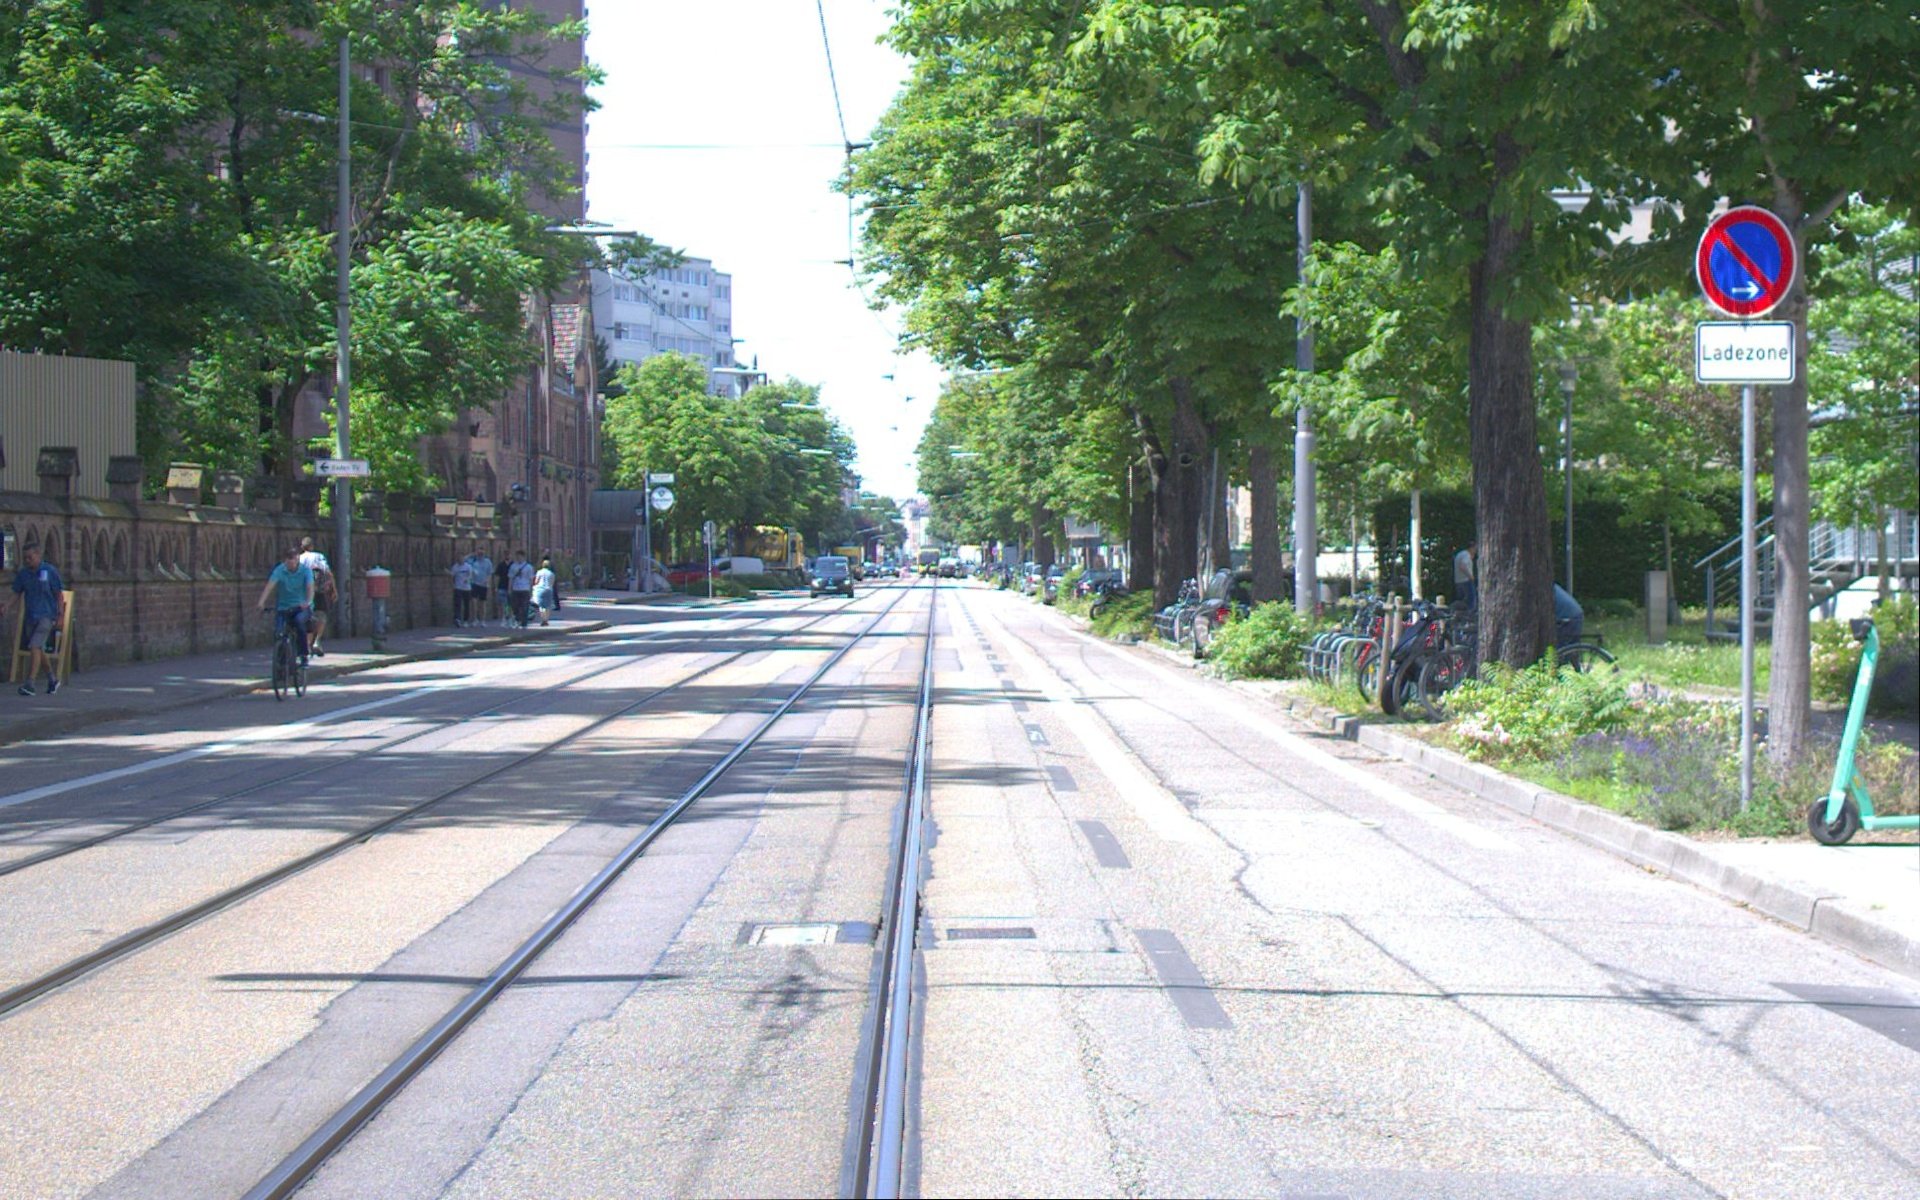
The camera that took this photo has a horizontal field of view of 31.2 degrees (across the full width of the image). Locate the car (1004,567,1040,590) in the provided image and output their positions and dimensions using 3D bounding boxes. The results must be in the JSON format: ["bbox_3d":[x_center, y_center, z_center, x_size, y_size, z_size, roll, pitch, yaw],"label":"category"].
[{"bbox_3d":[3.561,-1.246,198.849,1.993,1.305,4.000,0,1,0],"label":"car"}]

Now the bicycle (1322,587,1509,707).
[{"bbox_3d":[4.484,0.456,33.878,1.752,1.162,0.530,0,0,-3],"label":"bicycle"}]

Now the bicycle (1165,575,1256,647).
[{"bbox_3d":[4.342,0.190,59.656,1.564,1.237,0.437,0,0,1],"label":"bicycle"}]

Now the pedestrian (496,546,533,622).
[{"bbox_3d":[-10.148,-0.376,78.348,0.743,1.722,0.867,0,0,-1],"label":"pedestrian"}]

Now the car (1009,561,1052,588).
[{"bbox_3d":[3.434,-1.271,168.016,1.993,1.305,4.000,0,1,0],"label":"car"}]

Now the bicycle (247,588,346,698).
[{"bbox_3d":[-7.709,0.484,40.030,0.701,1.200,2.240,-2,1,-1],"label":"bicycle"}]

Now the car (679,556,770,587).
[{"bbox_3d":[-13.256,-1.607,193.393,4.728,1.711,2.000,-1,1,-27],"label":"car"}]

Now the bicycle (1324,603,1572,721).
[{"bbox_3d":[5.052,0.638,35.716,2.511,1.205,0.648,0,0,4],"label":"bicycle"}]

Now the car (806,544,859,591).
[{"bbox_3d":[-5.535,-1.426,149.628,1.993,2.007,4.000,0,1,2],"label":"car"}]

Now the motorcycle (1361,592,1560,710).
[{"bbox_3d":[4.806,0.484,33.077,1.824,1.106,0.598,0,1,0],"label":"motorcycle"}]

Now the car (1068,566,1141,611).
[{"bbox_3d":[4.327,-0.347,103.204,1.993,1.305,4.000,0,1,0],"label":"car"}]

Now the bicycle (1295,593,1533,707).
[{"bbox_3d":[4.890,0.537,37.119,2.511,1.205,0.622,0,0,4],"label":"bicycle"}]

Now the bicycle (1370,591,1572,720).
[{"bbox_3d":[4.673,0.502,31.497,1.752,1.162,0.530,0,0,-3],"label":"bicycle"}]

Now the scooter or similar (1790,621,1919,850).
[{"bbox_3d":[4.877,0.690,17.784,1.058,1.152,0.370,-1,0,0],"label":"scooter or similar"}]

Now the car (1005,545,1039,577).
[{"bbox_3d":[3.748,-2.382,208.500,1.993,1.897,4.000,0,1,0],"label":"car"}]

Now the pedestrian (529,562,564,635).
[{"bbox_3d":[-9.848,-0.048,81.866,0.743,1.722,0.867,0,0,-1],"label":"pedestrian"}]

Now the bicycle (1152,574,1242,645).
[{"bbox_3d":[4.189,0.166,60.744,1.564,1.237,0.437,0,0,1],"label":"bicycle"}]

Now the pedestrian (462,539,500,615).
[{"bbox_3d":[-10.922,-0.520,78.381,0.743,1.722,0.867,0,0,-1],"label":"pedestrian"}]

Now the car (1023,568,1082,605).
[{"bbox_3d":[3.314,-0.510,124.436,1.993,1.305,4.000,0,1,0],"label":"car"}]

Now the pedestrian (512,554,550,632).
[{"bbox_3d":[-9.589,-0.159,76.798,0.743,1.722,0.867,0,0,-1],"label":"pedestrian"}]

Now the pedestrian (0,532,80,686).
[{"bbox_3d":[-10.459,0.099,38.977,0.743,1.722,0.867,0,0,-1],"label":"pedestrian"}]

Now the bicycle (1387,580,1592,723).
[{"bbox_3d":[4.761,0.461,30.955,1.752,1.266,0.530,0,0,-3],"label":"bicycle"}]

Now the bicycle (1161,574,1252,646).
[{"bbox_3d":[4.309,0.176,60.160,1.564,1.237,0.437,0,0,1],"label":"bicycle"}]

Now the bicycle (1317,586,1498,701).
[{"bbox_3d":[4.558,0.439,35.033,1.752,1.162,0.530,0,0,-3],"label":"bicycle"}]

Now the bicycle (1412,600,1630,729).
[{"bbox_3d":[4.853,0.553,29.785,1.788,1.098,0.532,0,0,-2],"label":"bicycle"}]

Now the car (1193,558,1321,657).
[{"bbox_3d":[4.606,0.089,53.755,1.634,1.496,4.000,0,1,0],"label":"car"}]

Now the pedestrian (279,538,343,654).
[{"bbox_3d":[-9.968,-0.064,52.832,0.814,1.764,0.924,0,0,-1],"label":"pedestrian"}]

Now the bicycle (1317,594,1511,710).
[{"bbox_3d":[4.801,0.549,36.445,1.997,1.205,0.662,0,0,4],"label":"bicycle"}]

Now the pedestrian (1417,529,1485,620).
[{"bbox_3d":[9.890,-0.513,69.306,1.215,1.821,0.831,0,0,-4],"label":"pedestrian"}]

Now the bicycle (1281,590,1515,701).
[{"bbox_3d":[4.812,0.499,37.896,2.511,1.205,0.741,0,1,4],"label":"bicycle"}]

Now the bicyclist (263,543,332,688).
[{"bbox_3d":[-7.728,0.172,40.117,0.642,1.674,0.815,0,1,0],"label":"bicyclist"}]

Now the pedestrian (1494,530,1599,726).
[{"bbox_3d":[5.200,0.243,30.475,0.583,1.709,0.796,0,1,43],"label":"pedestrian"}]

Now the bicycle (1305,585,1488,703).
[{"bbox_3d":[4.381,0.441,34.531,1.752,1.162,0.530,0,0,-3],"label":"bicycle"}]

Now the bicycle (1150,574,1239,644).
[{"bbox_3d":[4.182,0.158,61.272,1.564,1.237,0.437,0,0,1],"label":"bicycle"}]

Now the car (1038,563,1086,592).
[{"bbox_3d":[4.600,-1.037,155.715,1.993,1.305,4.000,0,1,0],"label":"car"}]
